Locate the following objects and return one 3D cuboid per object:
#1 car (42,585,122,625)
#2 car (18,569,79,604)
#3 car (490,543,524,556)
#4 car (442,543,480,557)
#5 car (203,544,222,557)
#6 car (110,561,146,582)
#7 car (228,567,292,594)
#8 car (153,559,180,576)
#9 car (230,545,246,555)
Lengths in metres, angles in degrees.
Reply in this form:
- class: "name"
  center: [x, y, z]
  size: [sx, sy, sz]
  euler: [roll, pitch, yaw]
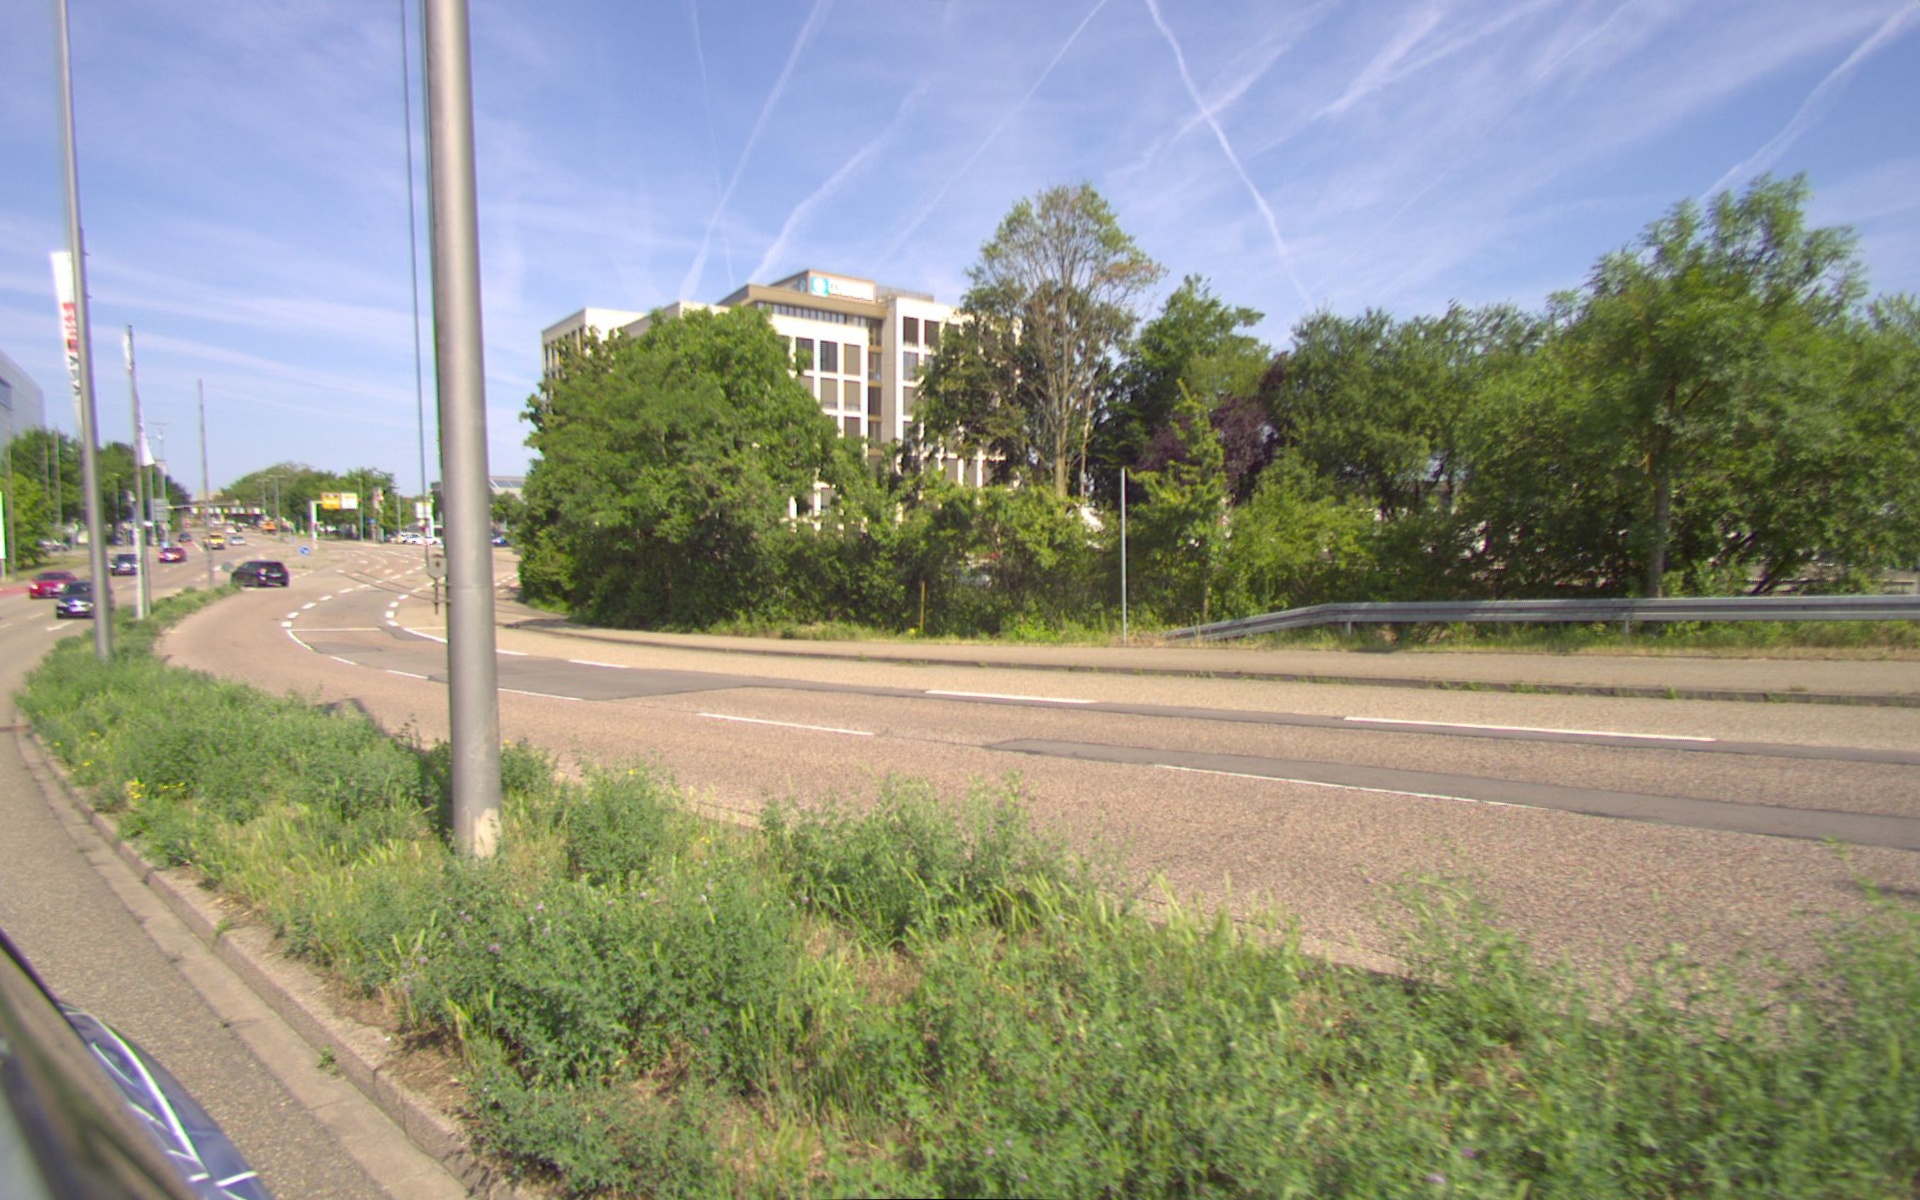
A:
- class: "car"
  center: [-36.928, 0.169, 42.656]
  size: [1.819, 1.428, 4.013]
  euler: [-1, 3, -30]
- class: "car"
  center: [-49.132, -0.749, 54.621]
  size: [1.749, 1.670, 4.156]
  euler: [-2, 4, -33]
- class: "car"
  center: [-65.684, -7.362, 146.764]
  size: [4.321, 1.861, 1.818]
  euler: [-1, 4, -31]
- class: "car"
  center: [-67.924, -6.852, 137.783]
  size: [4.321, 1.861, 1.818]
  euler: [0, 3, -16]
- class: "car"
  center: [-91.650, -6.066, 124.133]
  size: [1.797, 1.485, 4.011]
  euler: [-2, 4, -35]
- class: "car"
  center: [-63.257, -2.191, 76.996]
  size: [1.797, 1.485, 4.011]
  euler: [-2, 4, -35]
- class: "car"
  center: [-43.714, -1.240, 63.182]
  size: [4.132, 1.540, 1.842]
  euler: [3, 3, 33]
- class: "car"
  center: [-74.634, -3.064, 95.248]
  size: [1.797, 1.485, 4.011]
  euler: [-2, 4, -35]
- class: "car"
  center: [-103.869, -7.208, 145.665]
  size: [1.797, 1.485, 4.011]
  euler: [-2, 4, -35]
